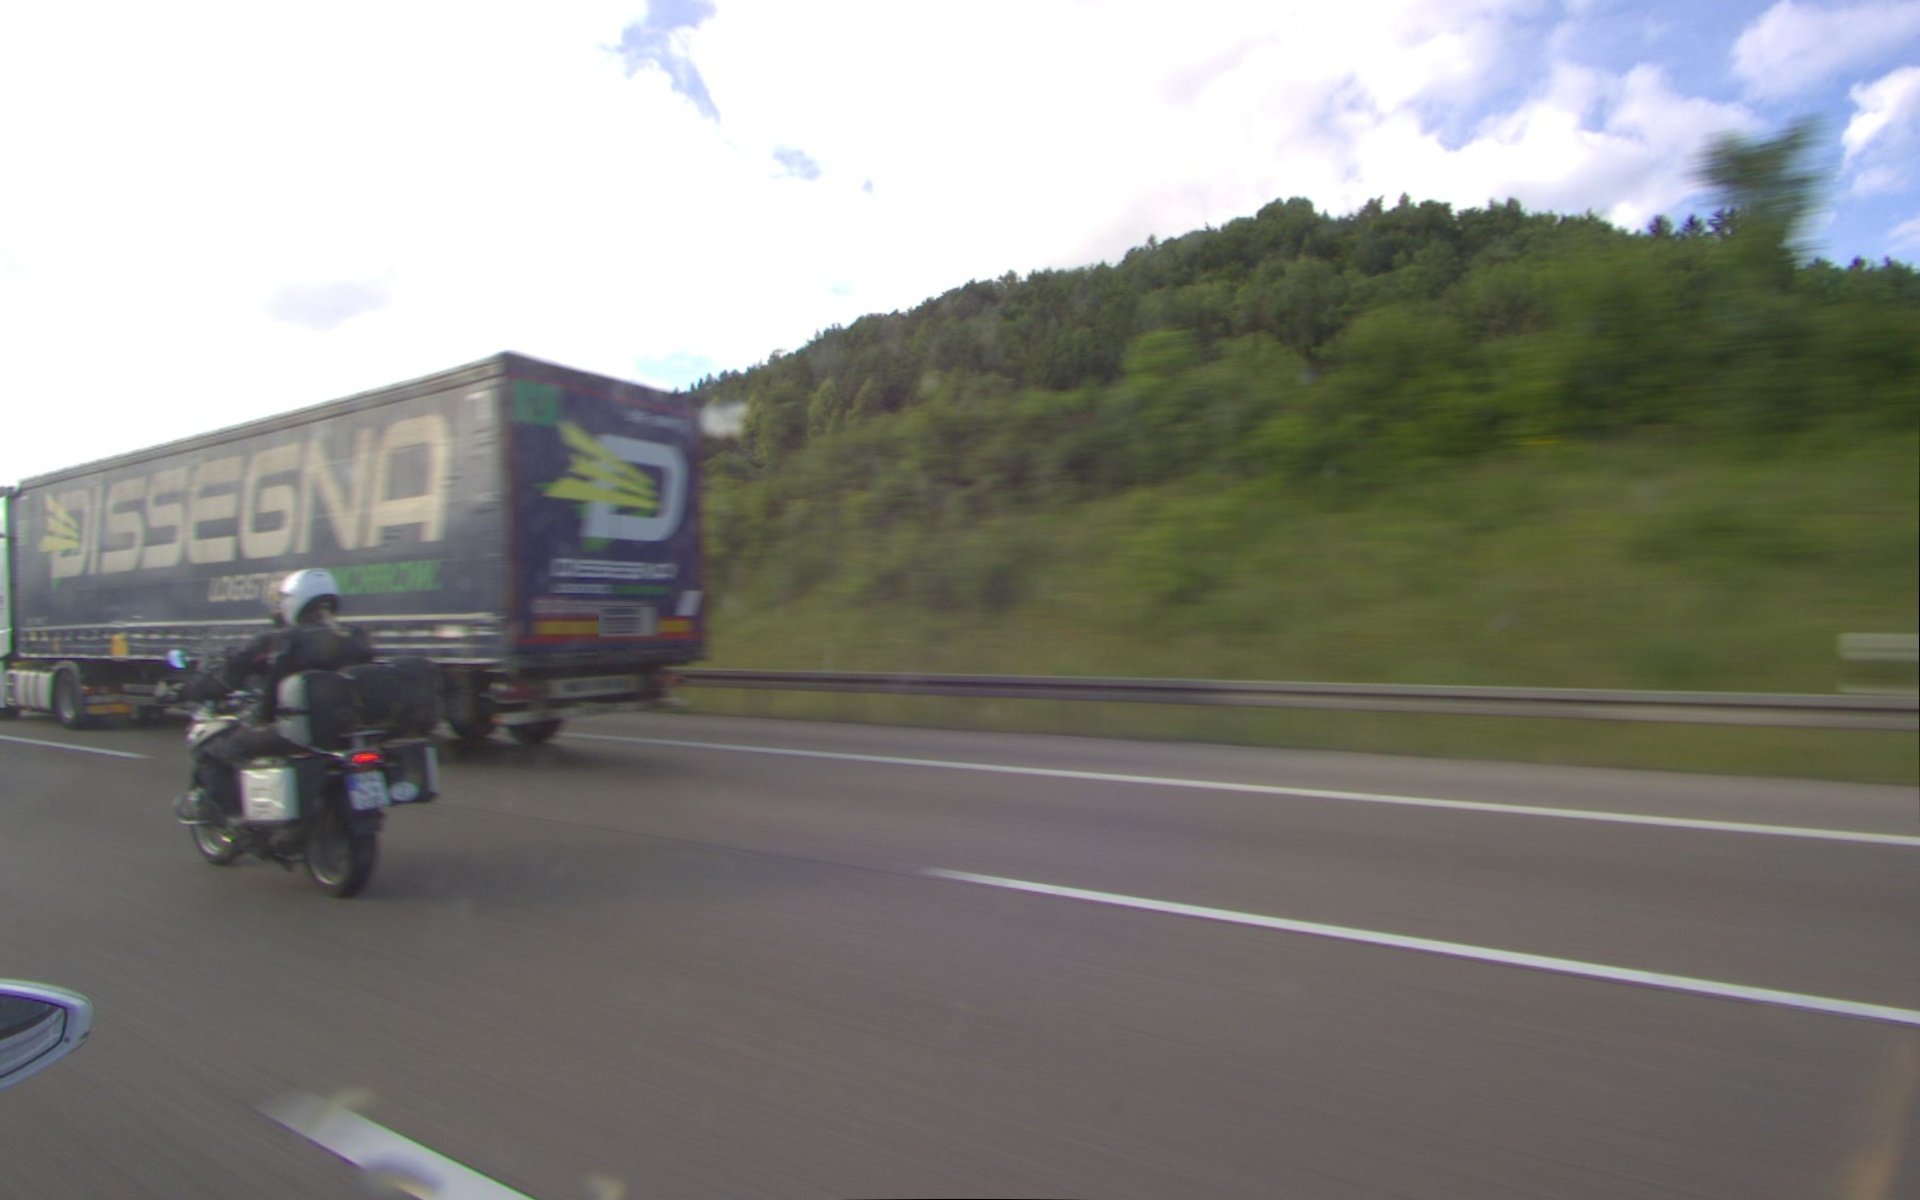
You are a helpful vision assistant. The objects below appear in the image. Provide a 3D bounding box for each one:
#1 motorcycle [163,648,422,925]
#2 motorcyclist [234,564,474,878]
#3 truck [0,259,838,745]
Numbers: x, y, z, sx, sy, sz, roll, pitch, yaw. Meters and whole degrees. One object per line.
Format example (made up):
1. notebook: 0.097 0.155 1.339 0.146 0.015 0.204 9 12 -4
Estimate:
1. motorcycle: -3.865 0.971 5.759 1.715 1.356 0.626 -1 -1 33
2. motorcyclist: -3.299 0.612 5.480 0.787 1.534 0.875 -1 -2 34
3. truck: -9.475 -0.635 14.270 17.479 4.044 2.959 -1 -1 32
